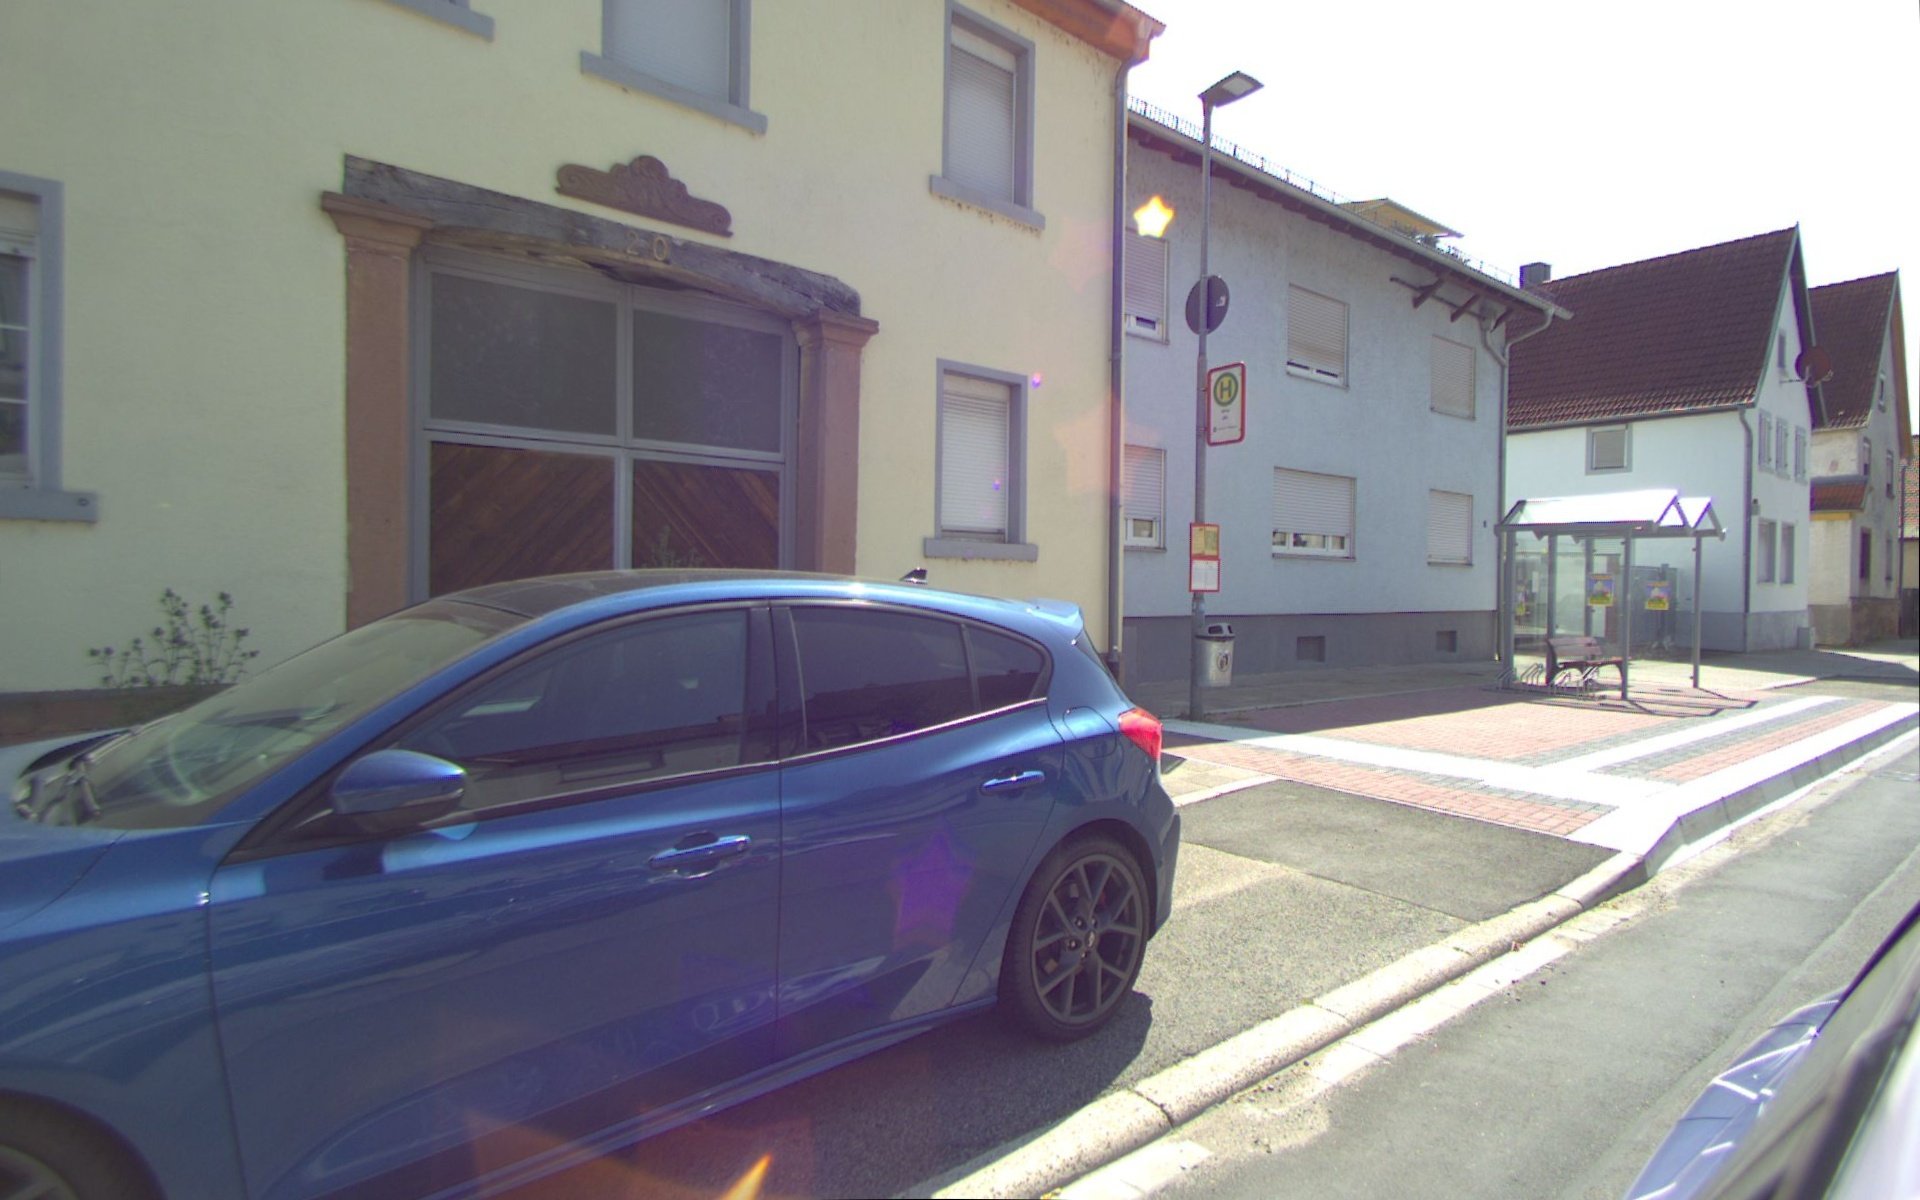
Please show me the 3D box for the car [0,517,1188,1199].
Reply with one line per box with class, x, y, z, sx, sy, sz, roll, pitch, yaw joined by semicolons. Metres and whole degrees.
car;-1.266;0.582;2.836;3.916;1.445;1.732;0;1;-41
